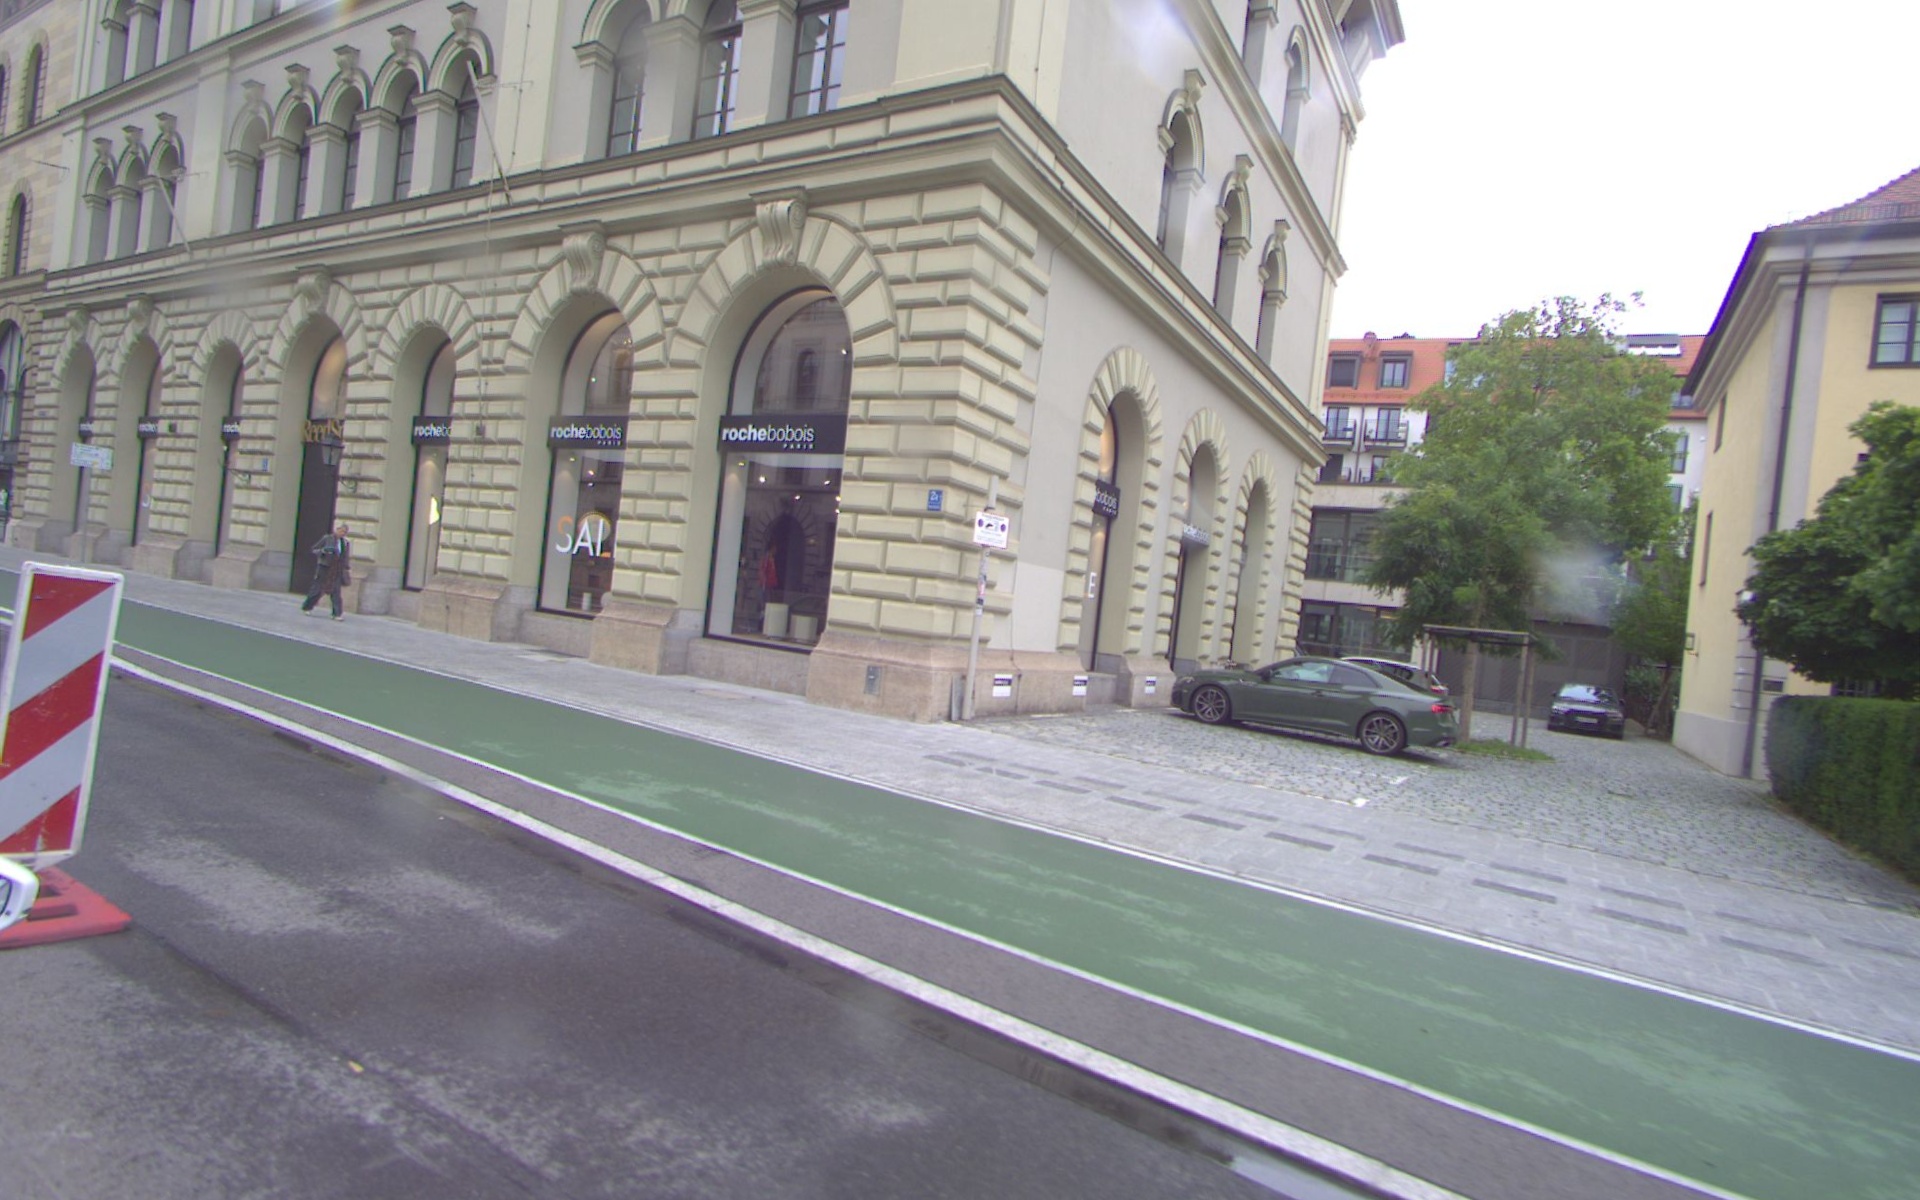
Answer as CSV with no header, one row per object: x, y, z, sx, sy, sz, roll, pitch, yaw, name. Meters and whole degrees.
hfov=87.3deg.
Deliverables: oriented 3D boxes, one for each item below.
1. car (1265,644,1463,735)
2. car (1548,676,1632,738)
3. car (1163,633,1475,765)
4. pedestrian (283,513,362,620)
9.108,1.975,22.755,3.812,1.444,1.693,7,0,31,car
18.535,3.125,29.627,1.833,1.443,4.317,7,-1,32,car
5.969,1.574,16.915,4.553,1.443,1.860,7,0,31,car
-11.074,-0.580,17.476,1.067,1.726,0.632,7,1,31,pedestrian
